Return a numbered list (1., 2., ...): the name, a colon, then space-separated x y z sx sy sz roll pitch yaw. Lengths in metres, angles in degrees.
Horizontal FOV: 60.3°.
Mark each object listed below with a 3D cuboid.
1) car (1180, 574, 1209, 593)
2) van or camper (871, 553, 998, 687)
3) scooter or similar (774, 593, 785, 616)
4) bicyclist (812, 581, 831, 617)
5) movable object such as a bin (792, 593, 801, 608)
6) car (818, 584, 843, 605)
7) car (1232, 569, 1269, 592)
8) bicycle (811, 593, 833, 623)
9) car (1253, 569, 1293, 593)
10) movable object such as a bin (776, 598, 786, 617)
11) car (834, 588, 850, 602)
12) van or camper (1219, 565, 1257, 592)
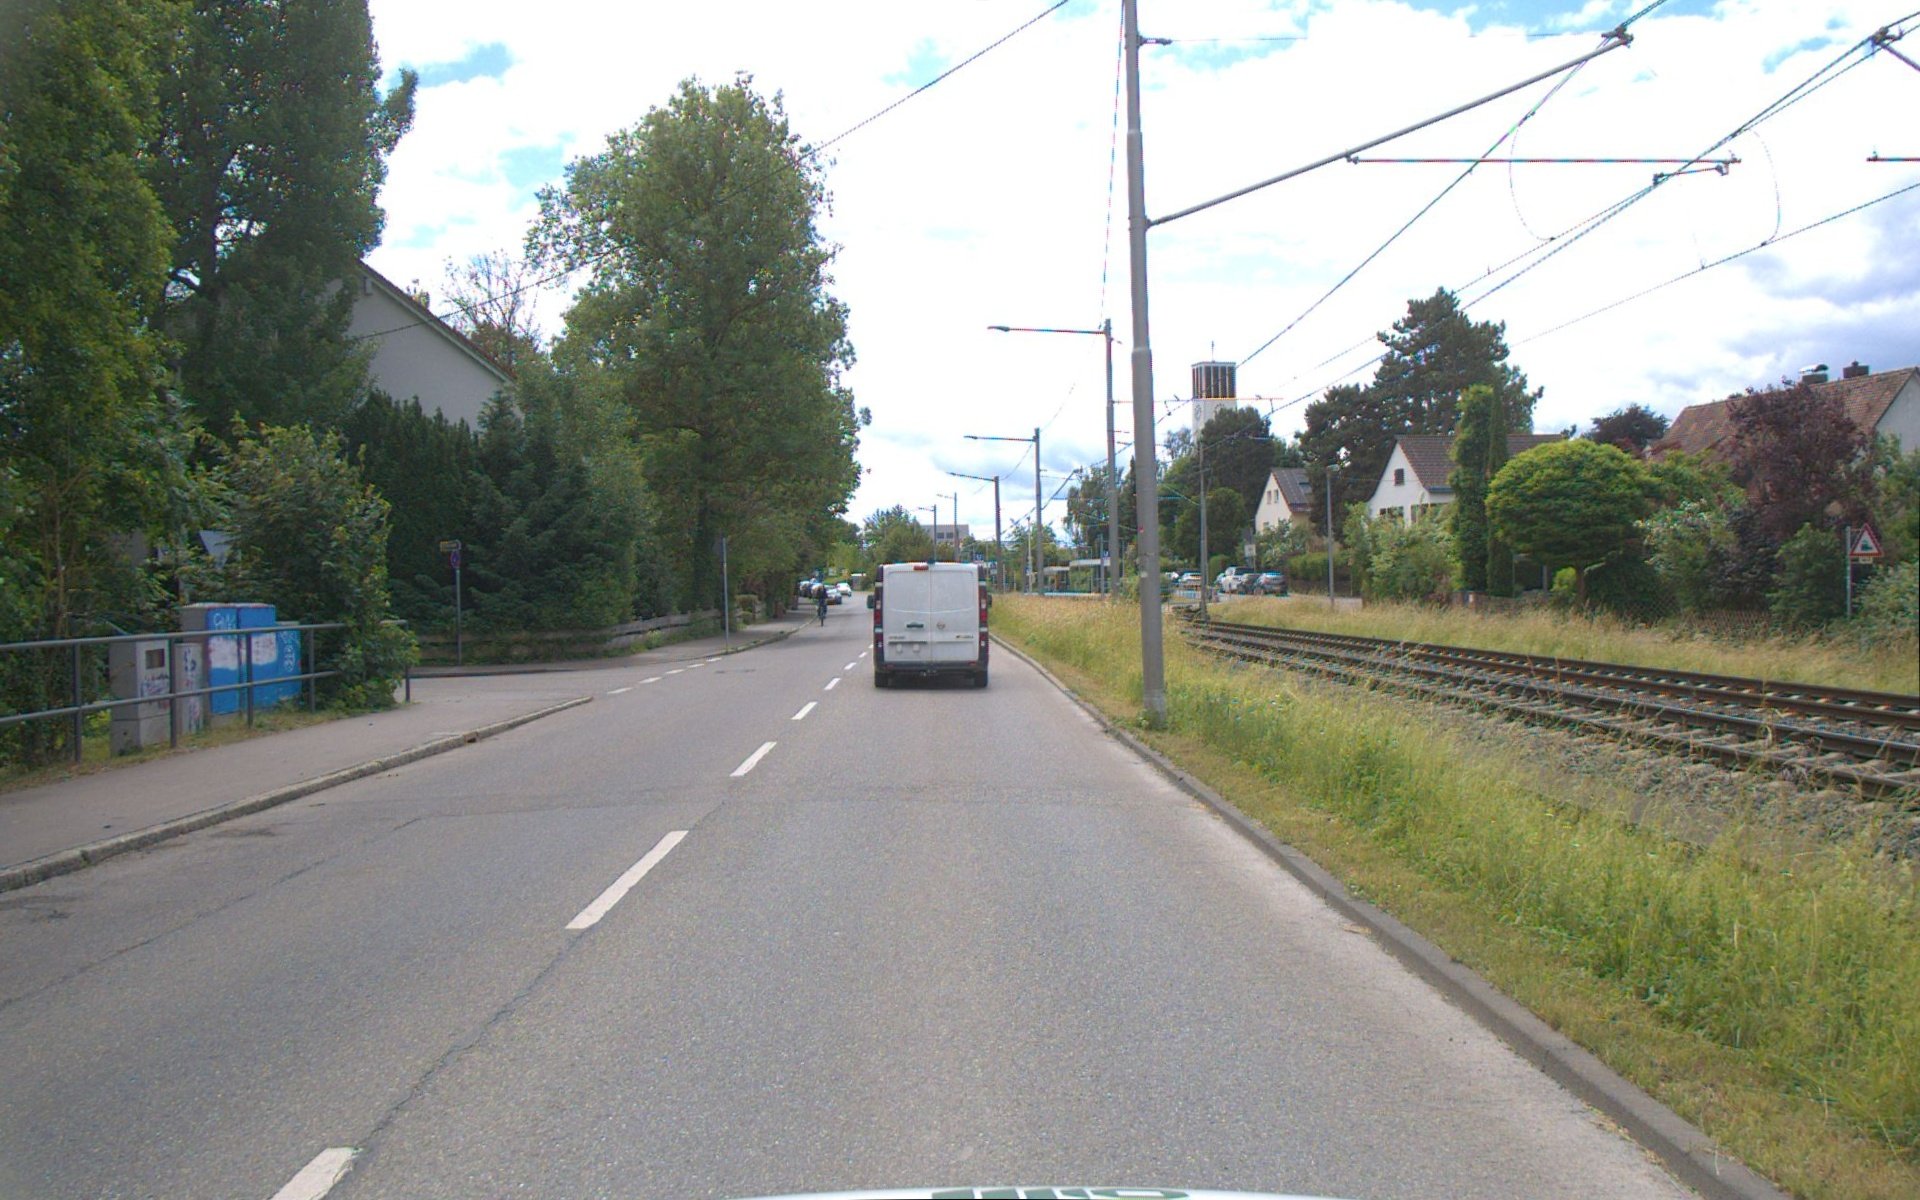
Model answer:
1. car: 20.214 -1.433 142.676 1.845 1.548 4.000 -1 1 0
2. van or camper: -0.416 0.311 27.555 1.953 2.049 4.445 0 0 -1
3. scooter or similar: -9.858 0.236 90.443 0.400 1.220 1.639 -1 0 0
4. bicyclist: -6.102 -0.047 73.036 0.762 1.576 0.869 -2 0 -2
5. movable object such as a bin: -11.103 0.029 112.270 0.455 0.946 0.428 2 -1 -19
6. car: -10.345 -0.429 131.674 1.704 1.531 4.470 -3 1 -7
7. car: 20.400 -1.355 116.154 1.845 1.548 4.000 -1 1 0
8. bicycle: -6.087 0.351 73.042 0.740 1.248 2.308 -3 1 -1
9. car: 20.826 -1.258 110.111 1.845 1.548 4.000 -1 1 0
10. movable object such as a bin: -9.201 0.391 84.977 0.503 0.961 0.568 0 0 -2
11. car: -13.050 -0.594 183.120 1.661 1.455 3.783 -3 1 -5
12. van or camper: 20.297 -1.562 120.970 1.866 1.857 5.047 -1 1 0
